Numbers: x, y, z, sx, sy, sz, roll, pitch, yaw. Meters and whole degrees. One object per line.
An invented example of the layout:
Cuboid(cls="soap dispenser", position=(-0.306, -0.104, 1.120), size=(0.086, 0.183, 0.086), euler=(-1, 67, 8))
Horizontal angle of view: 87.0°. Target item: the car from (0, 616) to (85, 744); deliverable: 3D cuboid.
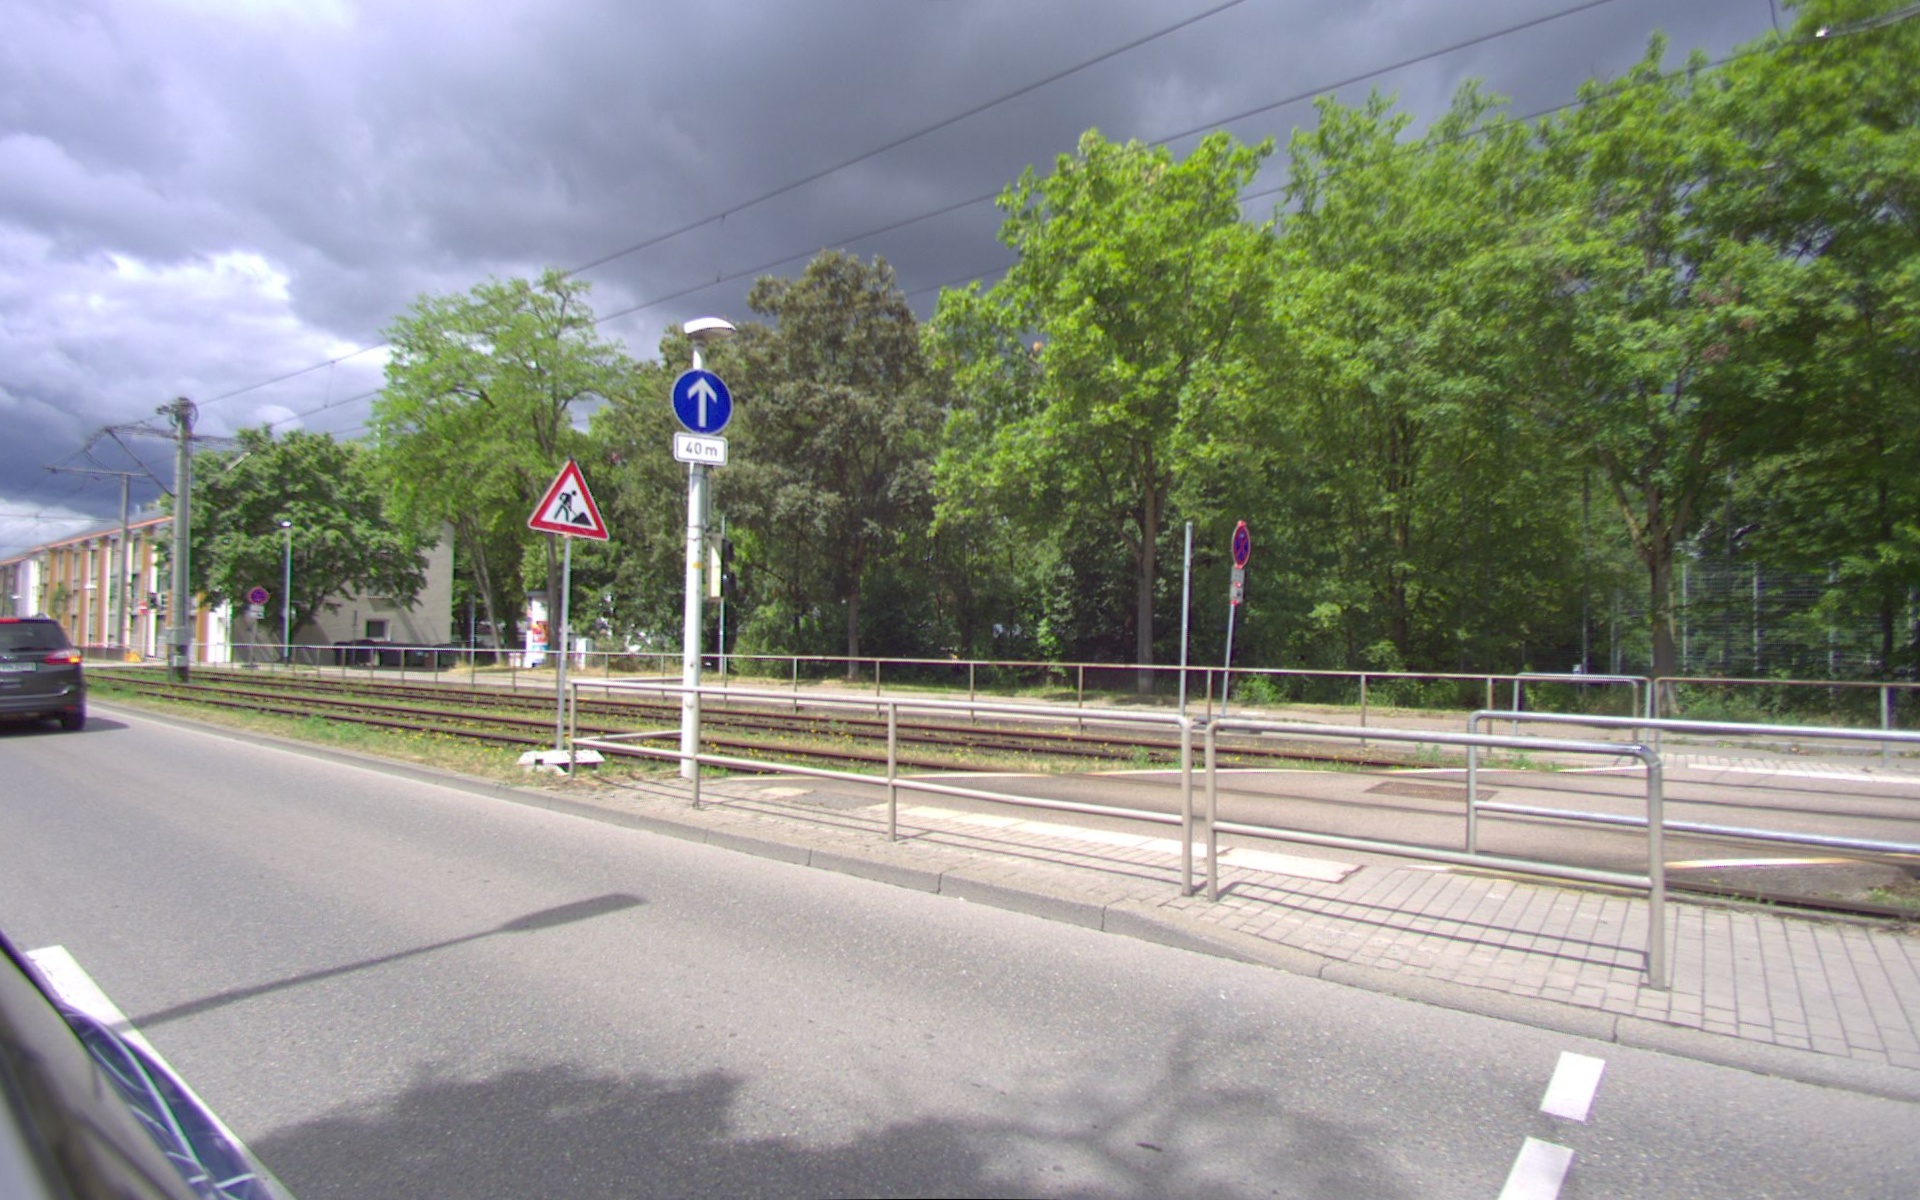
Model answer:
Cuboid(cls="car", position=(-14.412, 1.113, 14.806), size=(4.223, 1.689, 1.691), euler=(-1, -1, 39))

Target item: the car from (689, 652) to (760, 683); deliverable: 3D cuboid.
Cuboid(cls="car", position=(-15.078, 4.352, 64.918), size=(1.999, 1.873, 3.945), euler=(-1, -4, 41))
